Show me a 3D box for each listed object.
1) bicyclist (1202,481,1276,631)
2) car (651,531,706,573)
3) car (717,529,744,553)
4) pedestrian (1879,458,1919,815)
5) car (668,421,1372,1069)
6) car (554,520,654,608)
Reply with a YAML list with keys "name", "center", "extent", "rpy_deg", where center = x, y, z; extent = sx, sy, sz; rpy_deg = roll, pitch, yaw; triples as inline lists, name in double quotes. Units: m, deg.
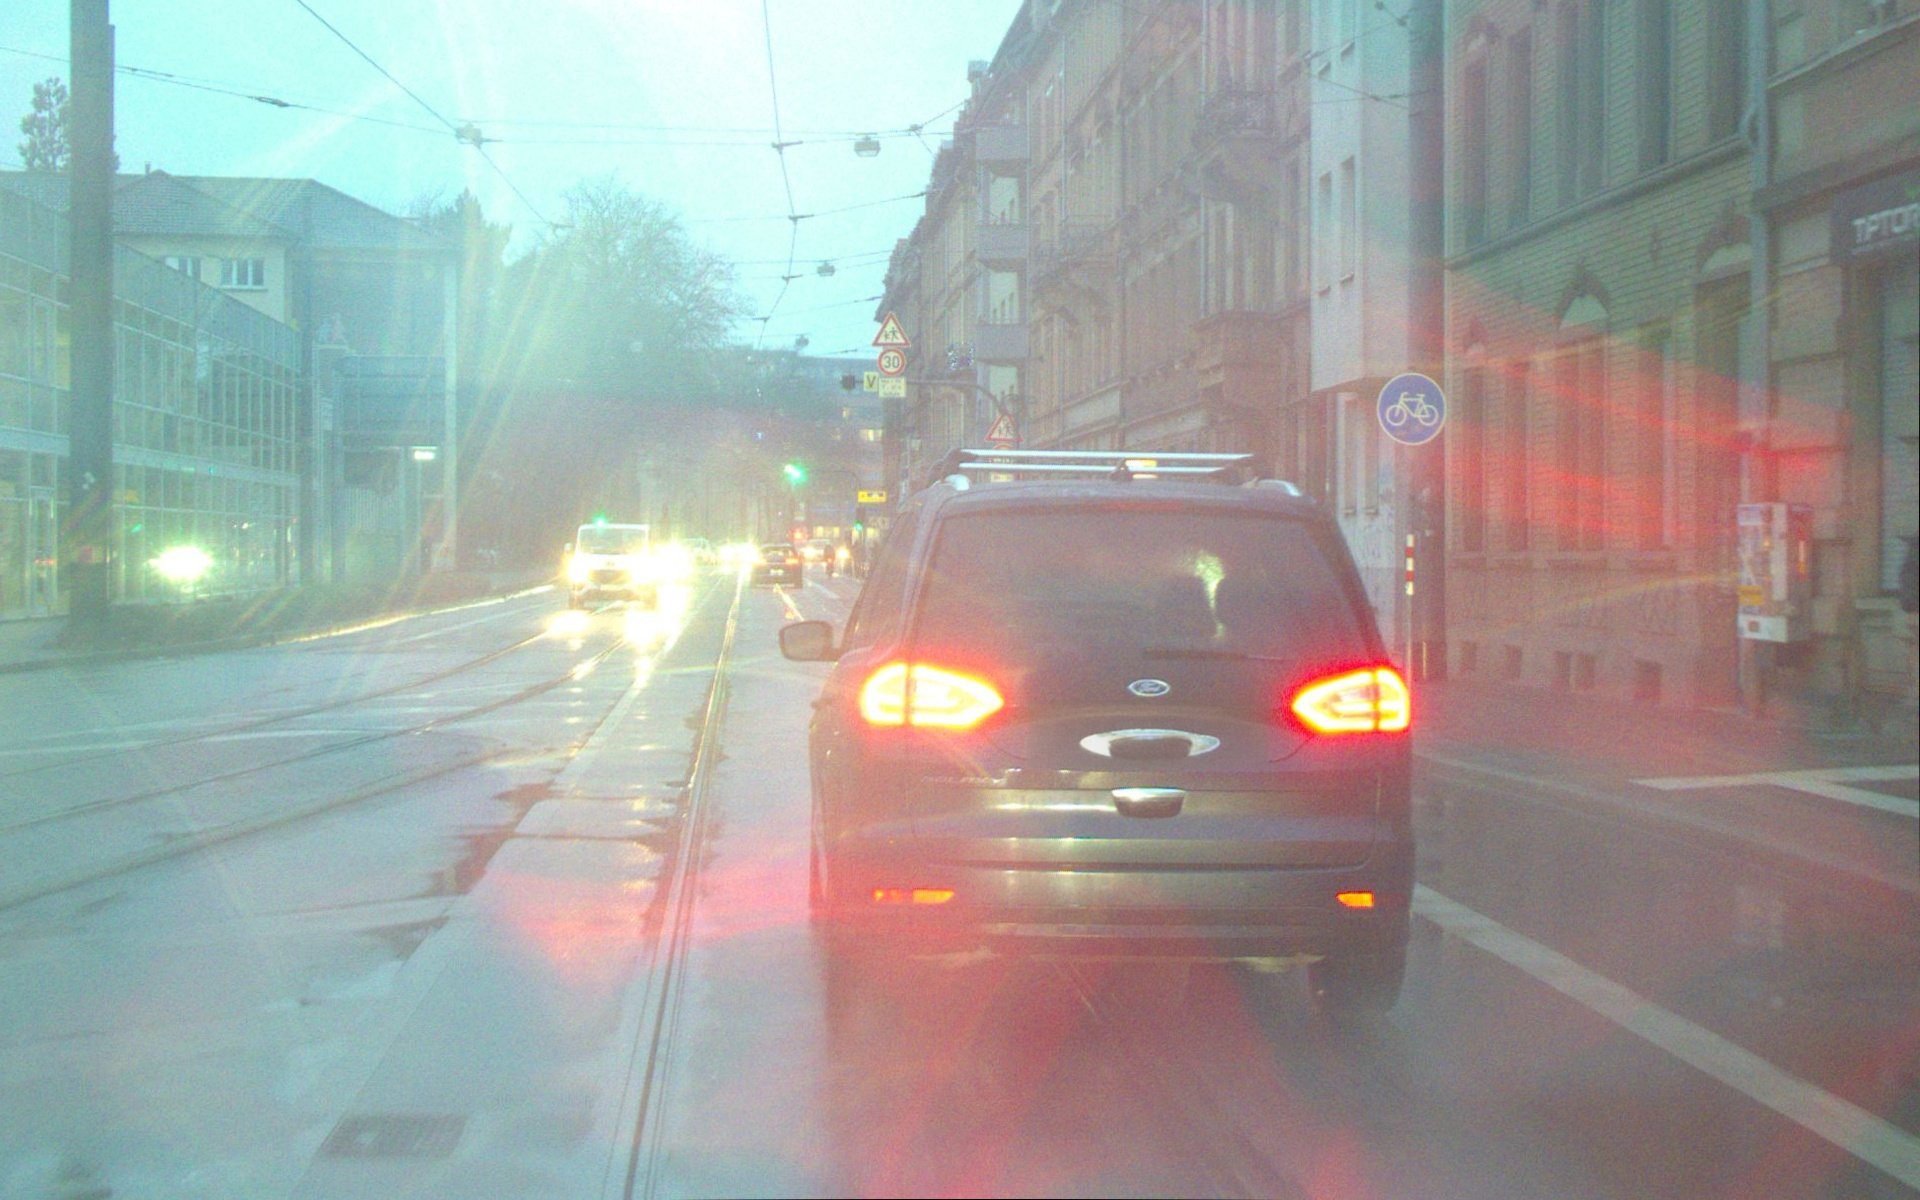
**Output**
- name: "bicyclist"
  center: [3.540, -0.556, 43.610]
  extent: [0.745, 1.873, 1.112]
  rpy_deg: [0, 1, -6]
- name: "car"
  center: [-10.604, -1.817, 129.726]
  extent: [1.841, 1.573, 4.443]
  rpy_deg: [0, 1, -2]
- name: "car"
  center: [-16.647, -4.256, 248.941]
  extent: [1.875, 1.704, 4.761]
  rpy_deg: [-1, 1, -4]
- name: "pedestrian"
  center: [5.259, 0.183, 17.870]
  extent: [0.751, 1.818, 0.711]
  rpy_deg: [0, 1, -1]
- name: "car"
  center: [0.148, 0.383, 11.788]
  extent: [1.993, 1.835, 4.000]
  rpy_deg: [0, 1, -1]
- name: "car"
  center: [-8.375, -0.847, 81.207]
  extent: [1.993, 2.007, 4.685]
  rpy_deg: [1, 1, -2]
